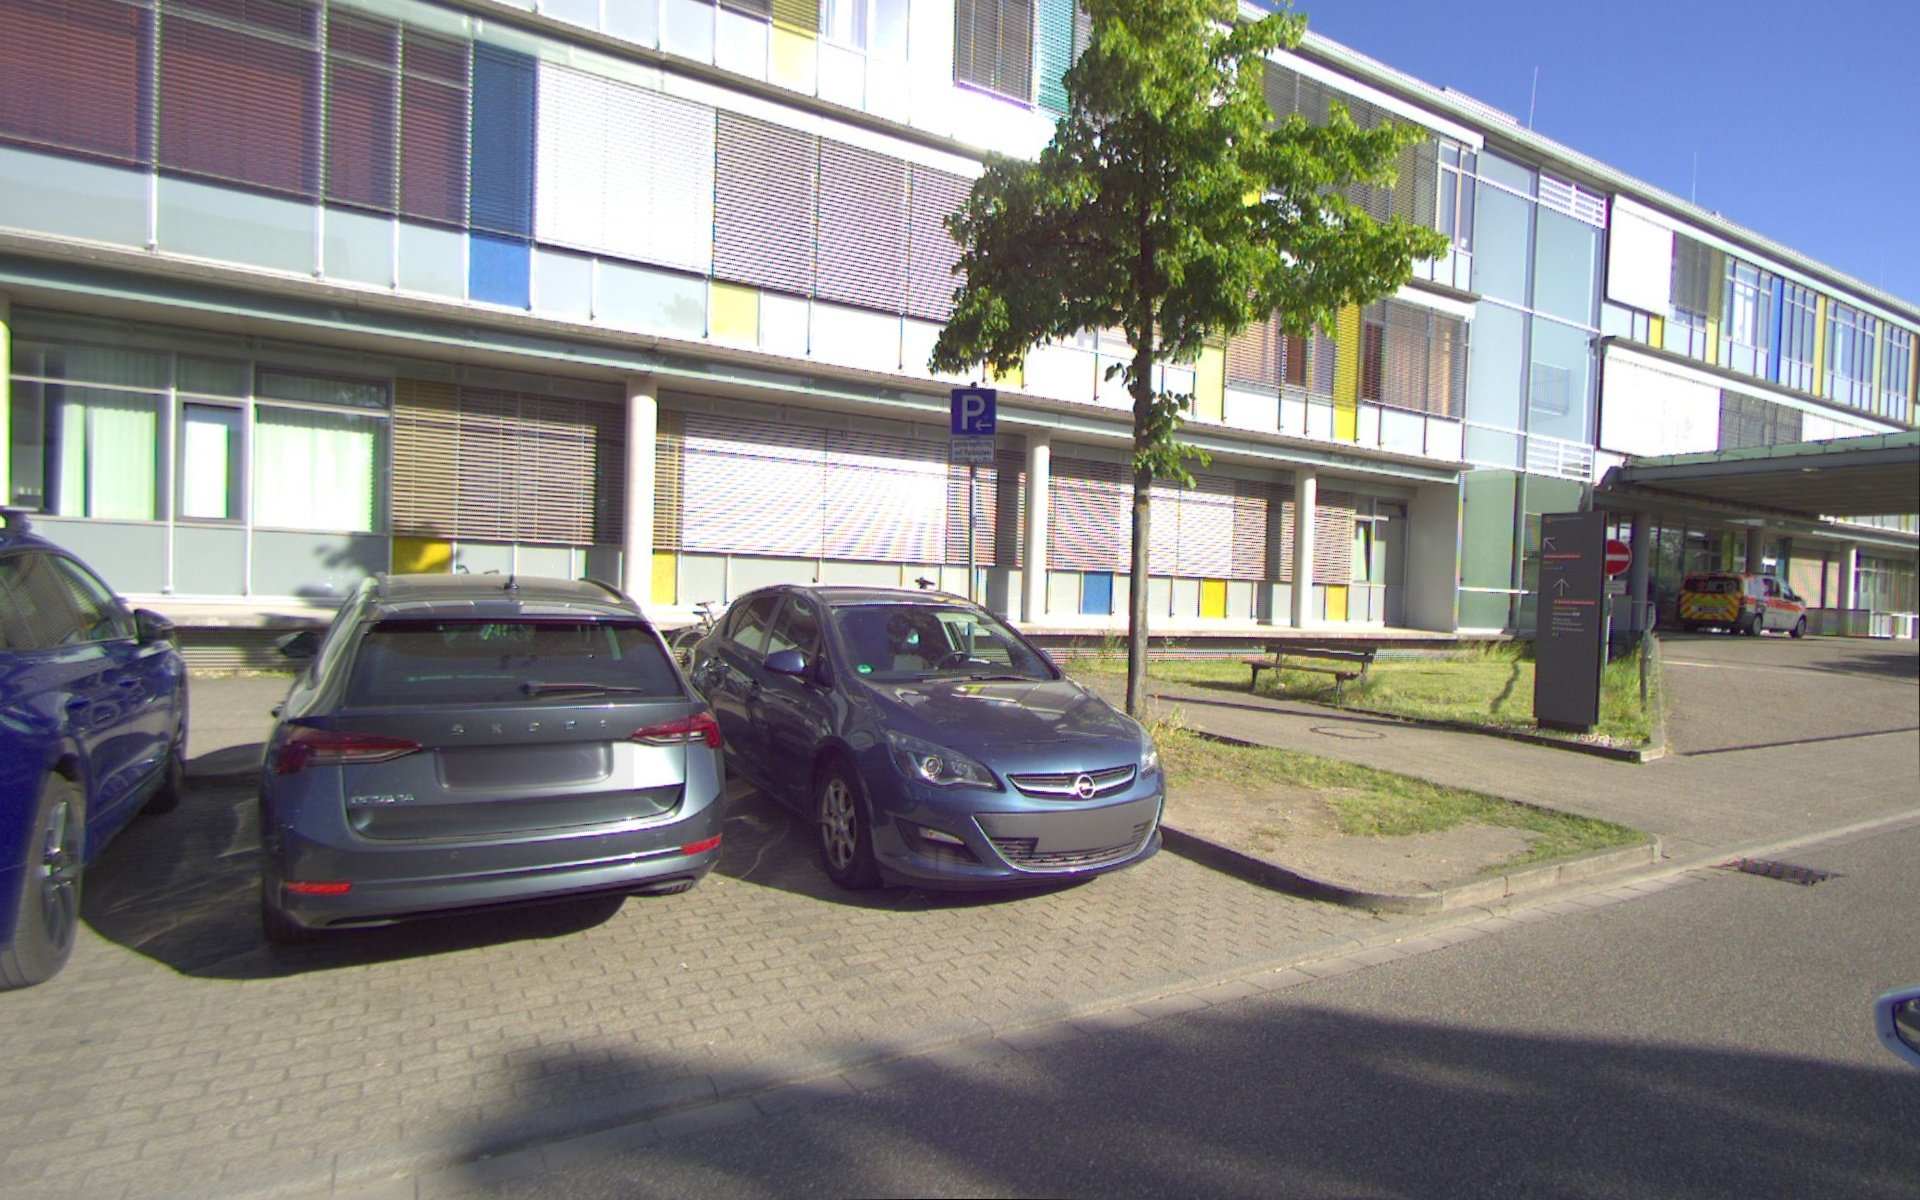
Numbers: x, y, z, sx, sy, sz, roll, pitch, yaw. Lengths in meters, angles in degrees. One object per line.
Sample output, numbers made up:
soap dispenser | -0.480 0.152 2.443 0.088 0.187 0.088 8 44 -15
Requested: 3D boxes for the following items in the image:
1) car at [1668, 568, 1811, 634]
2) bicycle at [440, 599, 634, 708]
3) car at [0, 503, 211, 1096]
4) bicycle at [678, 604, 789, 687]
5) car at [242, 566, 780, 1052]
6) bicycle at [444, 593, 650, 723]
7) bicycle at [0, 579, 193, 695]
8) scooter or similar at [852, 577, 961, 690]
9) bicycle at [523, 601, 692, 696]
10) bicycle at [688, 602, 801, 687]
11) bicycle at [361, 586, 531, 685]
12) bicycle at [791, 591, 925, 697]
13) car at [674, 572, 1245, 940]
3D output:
car | 24.350 0.059 31.351 4.656 1.916 1.910 1 1 -30
bicycle | -4.258 0.523 10.181 1.759 1.029 0.424 1 0 -31
car | -4.540 0.479 4.129 1.938 1.673 4.197 1 1 -32
bicycle | -2.956 0.583 13.181 1.383 1.036 0.350 1 0 -36
car | -2.489 0.600 5.212 1.712 1.457 3.965 1 2 -32
bicycle | -3.974 0.537 9.721 1.759 1.158 0.632 1 0 -31
bicycle | -8.922 0.359 10.110 1.835 1.110 0.643 1 0 -31
scooter or similar | -0.630 0.389 11.926 1.190 1.291 0.468 1 1 -29
bicycle | -4.027 0.543 11.536 1.759 1.029 0.445 1 0 -31
bicycle | -2.737 0.553 12.830 1.383 1.036 0.350 1 0 -36
bicycle | -6.338 0.433 12.431 1.835 1.151 0.445 1 0 -31
bicycle | -1.256 0.525 12.629 1.634 1.062 0.350 -9 6 -35
car | -0.382 0.640 6.285 1.733 1.486 4.110 1 0 -30
